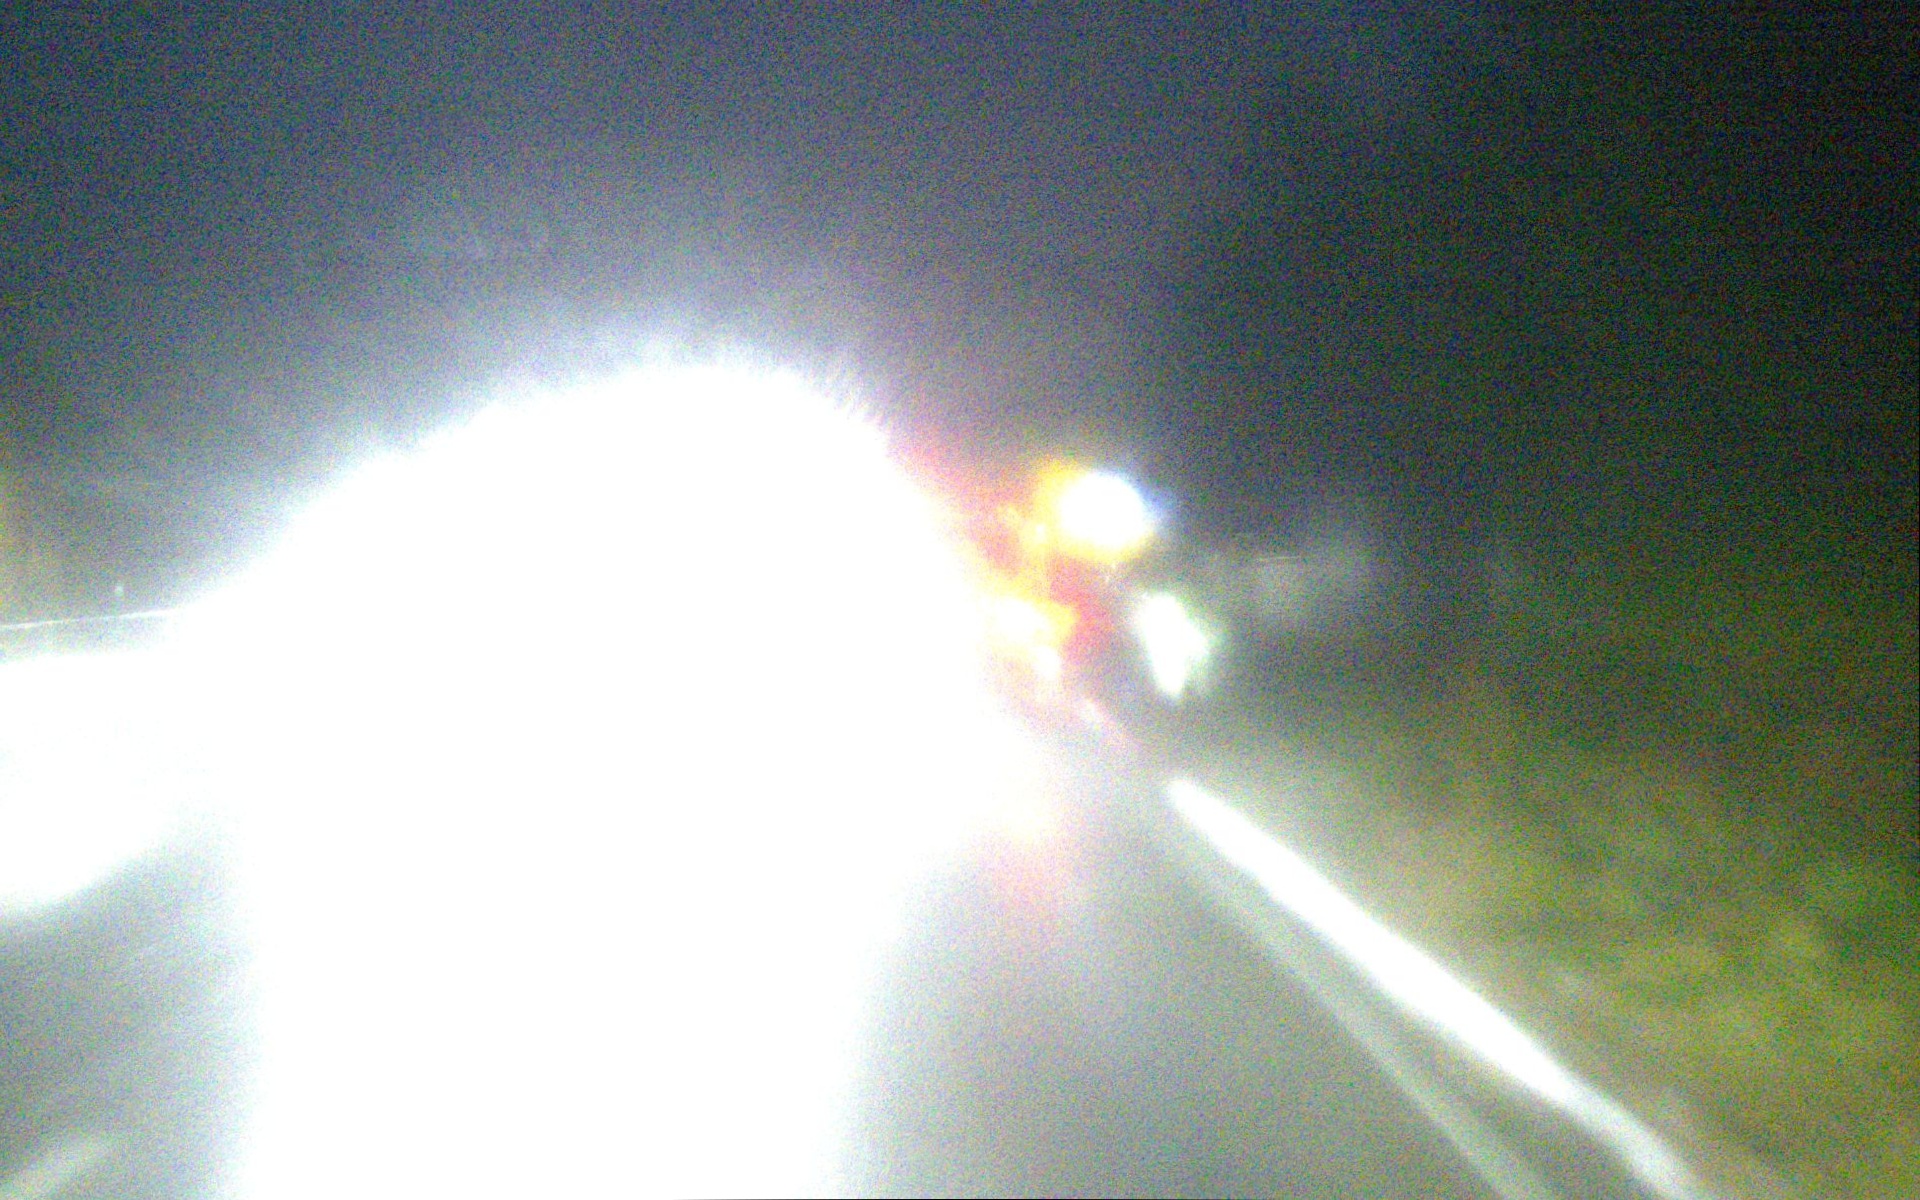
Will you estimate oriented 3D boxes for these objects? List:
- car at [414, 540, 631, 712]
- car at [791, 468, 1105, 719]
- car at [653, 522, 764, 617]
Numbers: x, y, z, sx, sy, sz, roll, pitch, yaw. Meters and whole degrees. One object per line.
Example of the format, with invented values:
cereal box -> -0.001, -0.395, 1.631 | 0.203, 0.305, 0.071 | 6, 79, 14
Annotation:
car -> -4.320, 0.212, 34.445 | 1.795, 1.532, 3.801 | -3, 1, -3
car -> -0.173, -0.071, 29.523 | 2.457, 1.952, 4.912 | -1, 0, -2
car -> -4.887, -0.622, 67.248 | 1.855, 1.677, 4.326 | -3, 2, -1
